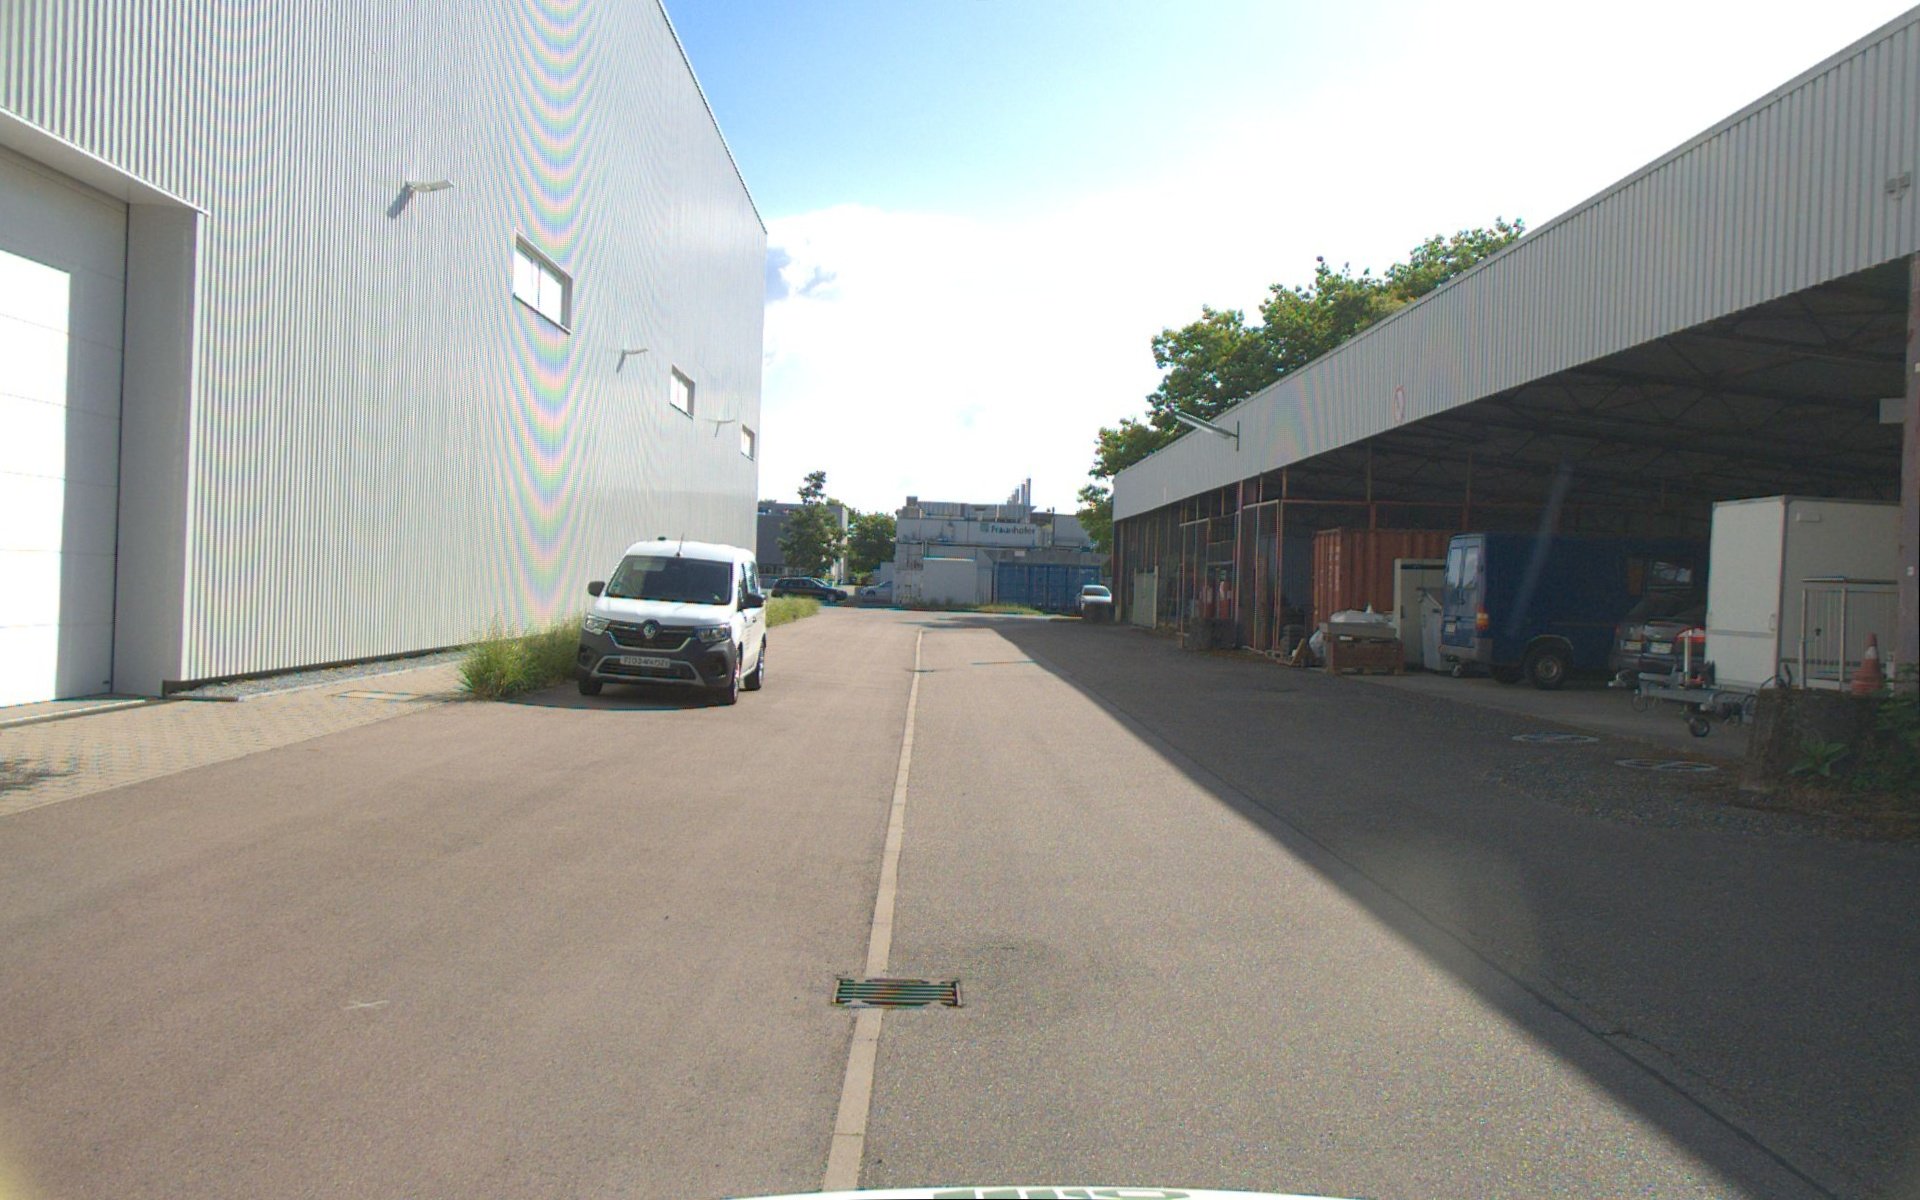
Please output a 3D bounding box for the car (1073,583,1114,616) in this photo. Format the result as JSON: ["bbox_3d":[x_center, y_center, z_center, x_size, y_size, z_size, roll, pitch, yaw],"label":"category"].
[{"bbox_3d":[7.225,-0.066,89.842,1.939,1.630,4.378,0,2,0],"label":"car"}]

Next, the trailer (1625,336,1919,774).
[{"bbox_3d":[11.349,-0.333,14.349,10.059,3.401,2.801,0,0,-1],"label":"trailer"}]

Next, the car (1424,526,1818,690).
[{"bbox_3d":[10.128,0.117,25.615,5.225,2.321,2.152,1,0,-2],"label":"car"}]

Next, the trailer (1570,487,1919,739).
[{"bbox_3d":[8.772,0.126,16.785,4.424,2.383,2.047,0,0,0],"label":"trailer"}]

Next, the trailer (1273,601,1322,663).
[{"bbox_3d":[6.364,0.586,31.247,0.541,1.138,1.546,0,0,-3],"label":"trailer"}]

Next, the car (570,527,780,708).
[{"bbox_3d":[-3.312,0.179,20.077,1.747,1.847,4.600,3,0,-1],"label":"car"}]

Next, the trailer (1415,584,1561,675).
[{"bbox_3d":[8.967,0.473,28.201,1.996,1.492,1.739,0,0,3],"label":"trailer"}]

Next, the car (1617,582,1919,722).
[{"bbox_3d":[10.160,0.592,19.378,4.164,1.497,1.868,1,1,-4],"label":"car"}]

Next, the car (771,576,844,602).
[{"bbox_3d":[-9.361,-0.683,101.885,4.358,1.557,1.823,1,0,-2],"label":"car"}]

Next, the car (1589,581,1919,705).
[{"bbox_3d":[10.851,0.564,22.480,3.886,1.540,1.838,1,0,-4],"label":"car"}]

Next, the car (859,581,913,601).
[{"bbox_3d":[-5.801,-0.712,129.872,4.216,1.483,1.823,1,0,-2],"label":"car"}]
